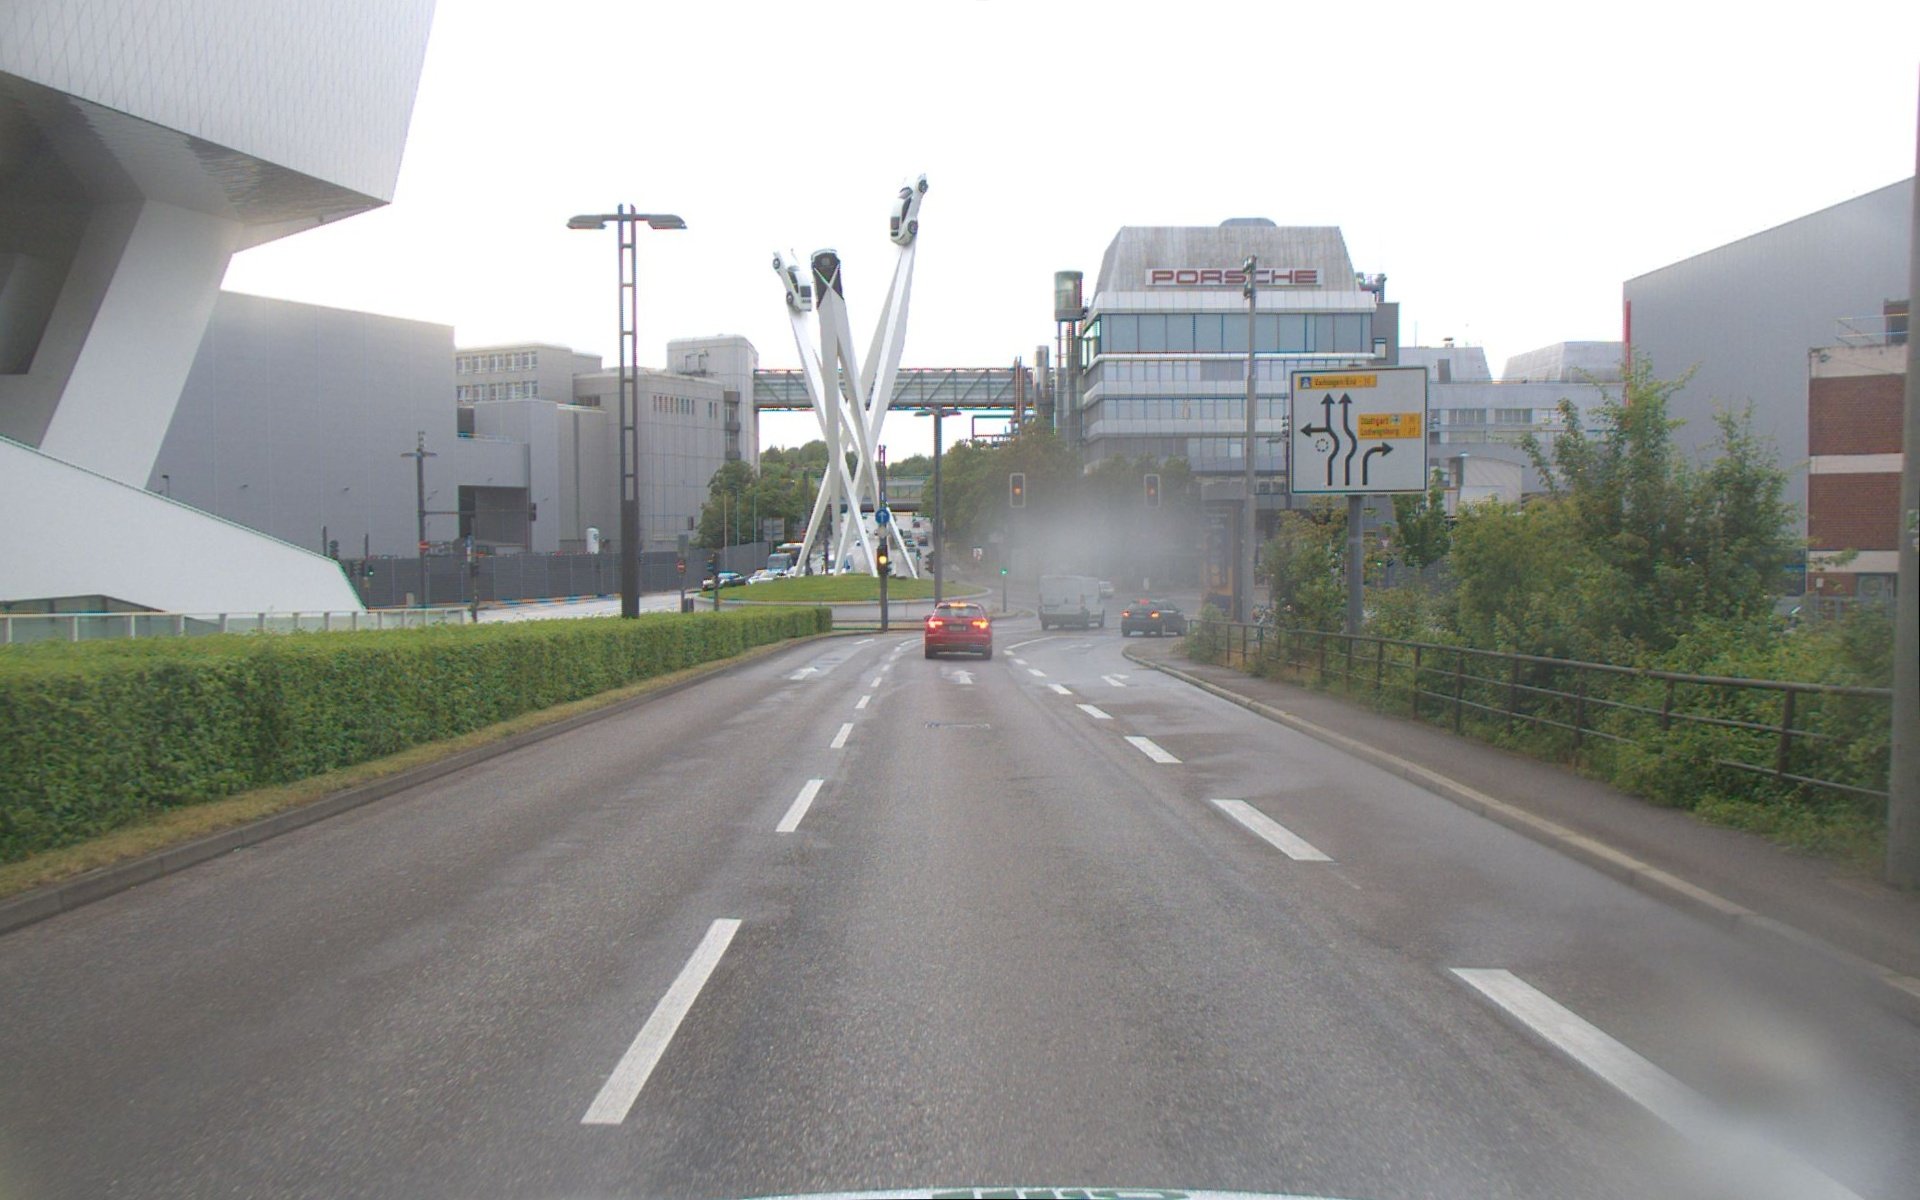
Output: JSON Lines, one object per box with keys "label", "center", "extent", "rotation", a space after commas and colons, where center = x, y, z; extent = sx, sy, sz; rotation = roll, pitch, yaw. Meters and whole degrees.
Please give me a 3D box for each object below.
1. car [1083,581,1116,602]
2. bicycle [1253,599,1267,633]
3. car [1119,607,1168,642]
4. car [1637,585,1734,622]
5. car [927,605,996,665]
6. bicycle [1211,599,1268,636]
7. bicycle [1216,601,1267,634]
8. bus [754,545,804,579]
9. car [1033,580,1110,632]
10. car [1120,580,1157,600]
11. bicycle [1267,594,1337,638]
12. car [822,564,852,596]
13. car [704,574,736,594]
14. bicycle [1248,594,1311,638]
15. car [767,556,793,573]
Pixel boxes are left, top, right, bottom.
{"label": "car", "center": [9.328, -0.561, 110.868], "extent": [1.528, 1.311, 3.407], "rotation": [0, 0, -8]}
{"label": "bicycle", "center": [10.668, 0.560, 58.723], "extent": [0.377, 1.182, 2.002], "rotation": [0, 0, 13]}
{"label": "car", "center": [7.186, 0.924, 64.571], "extent": [1.576, 1.313, 3.569], "rotation": [0, 0, 12]}
{"label": "car", "center": [35.057, 0.159, 79.922], "extent": [3.910, 1.629, 1.901], "rotation": [2, 2, 41]}
{"label": "car", "center": [0.045, 0.879, 43.181], "extent": [1.736, 1.490, 3.732], "rotation": [0, 0, 0]}
{"label": "bicycle", "center": [9.257, 0.575, 54.828], "extent": [1.762, 1.182, 0.592], "rotation": [-1, 0, 2]}
{"label": "bicycle", "center": [9.786, 0.608, 57.526], "extent": [1.732, 1.160, 0.679], "rotation": [0, -1, 6]}
{"label": "bus", "center": [-17.884, -3.700, 163.955], "extent": [2.612, 3.256, 12.677], "rotation": [0, 1, 4]}
{"label": "car", "center": [4.824, 0.255, 70.806], "extent": [2.185, 2.144, 4.957], "rotation": [0, 0, 17]}
{"label": "car", "center": [12.226, -0.691, 113.490], "extent": [1.636, 1.323, 3.879], "rotation": [0, 0, -8]}
{"label": "bicycle", "center": [9.832, 0.457, 47.516], "extent": [1.895, 1.198, 0.596], "rotation": [-1, 0, -17]}
{"label": "car", "center": [-9.885, -1.628, 133.142], "extent": [1.952, 2.490, 5.427], "rotation": [-1, 1, 1]}
{"label": "car", "center": [-18.789, -1.255, 129.697], "extent": [1.795, 1.498, 4.514], "rotation": [0, 1, 1]}
{"label": "bicycle", "center": [9.501, 0.464, 49.130], "extent": [1.905, 1.245, 0.593], "rotation": [-1, 0, -30]}
{"label": "car", "center": [-16.267, -3.196, 149.942], "extent": [1.795, 1.498, 4.514], "rotation": [0, 1, 1]}
